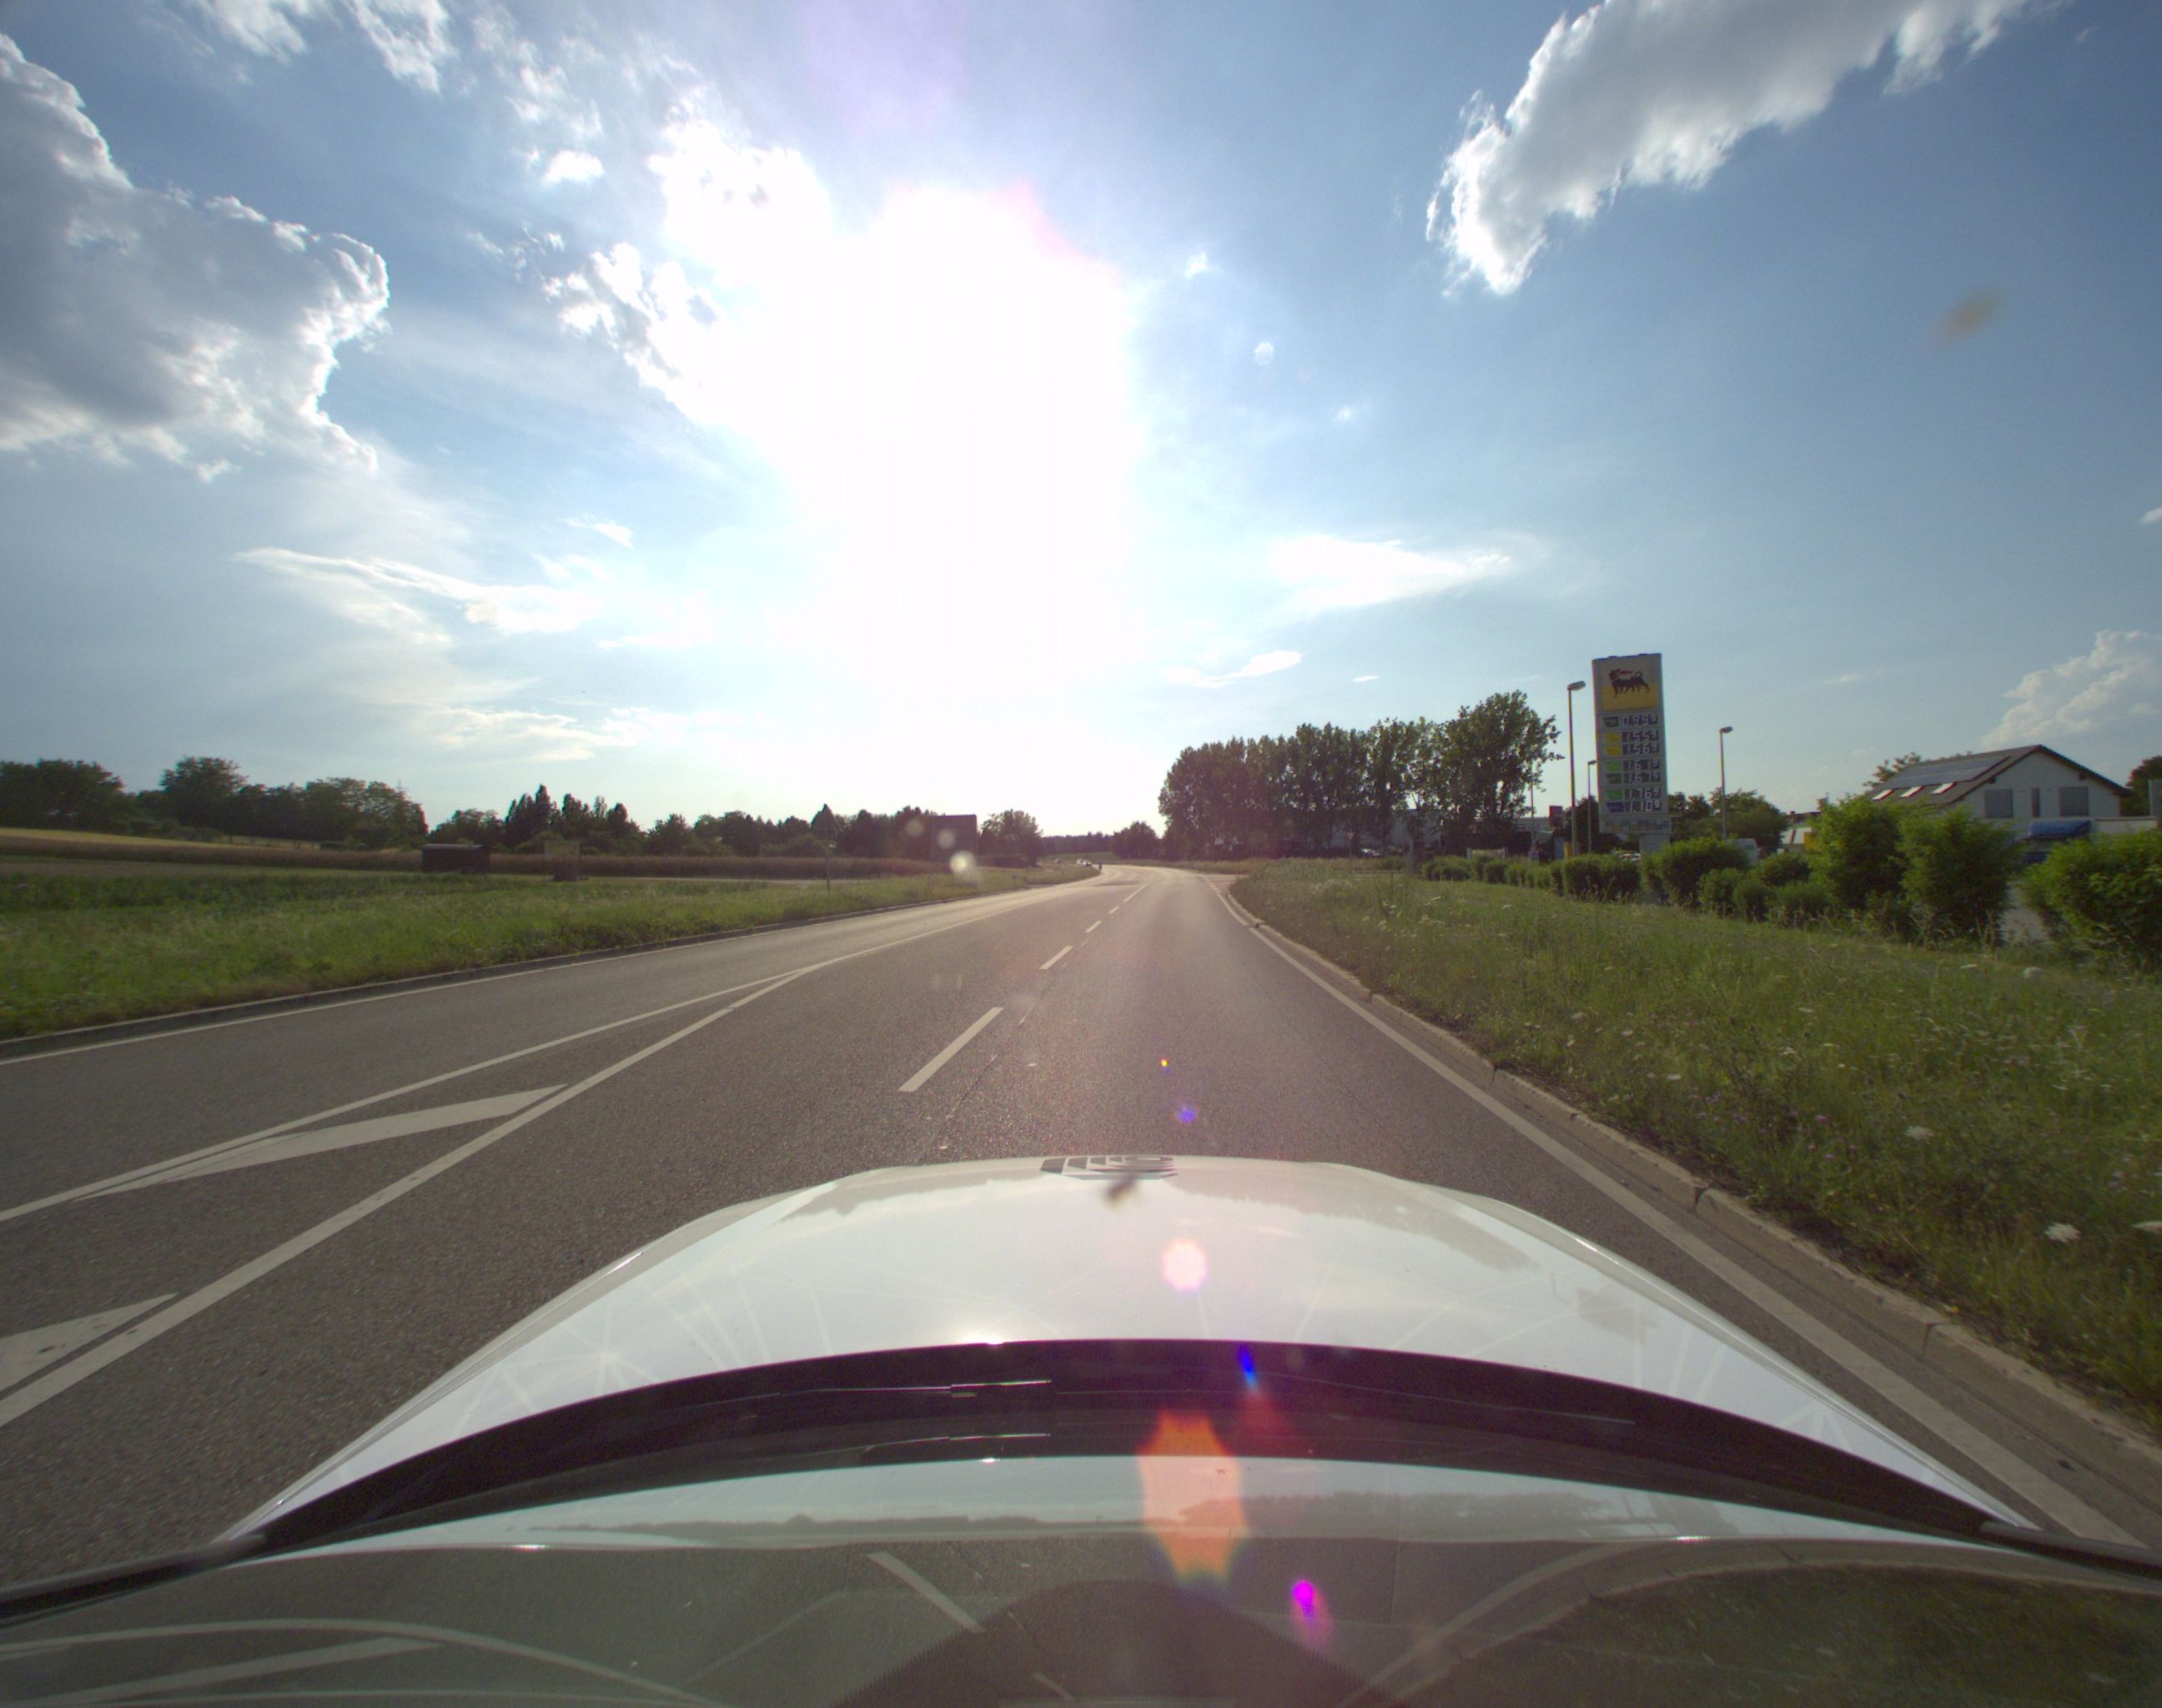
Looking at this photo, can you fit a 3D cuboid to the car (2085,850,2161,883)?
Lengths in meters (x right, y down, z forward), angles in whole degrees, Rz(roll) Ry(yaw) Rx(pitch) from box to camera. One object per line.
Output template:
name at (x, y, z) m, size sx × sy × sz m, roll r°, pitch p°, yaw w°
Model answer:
car at (54.440, 0.628, 41.127) m, size 1.853 × 1.635 × 4.386 m, roll 2°, pitch -1°, yaw -25°

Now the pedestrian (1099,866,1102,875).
pedestrian at (3.432, 2.886, 143.563) m, size 0.563 × 1.505 × 0.865 m, roll 1°, pitch -1°, yaw 3°

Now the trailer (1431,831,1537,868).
trailer at (45.836, -0.400, 93.437) m, size 2.248 × 3.916 × 13.642 m, roll 1°, pitch -1°, yaw -17°

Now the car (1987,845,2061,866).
car at (67.741, 0.104, 58.543) m, size 3.583 × 1.394 × 1.845 m, roll 1°, pitch -1°, yaw -9°

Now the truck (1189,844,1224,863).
truck at (23.711, -0.108, 154.321) m, size 2.518 × 3.377 × 9.627 m, roll 1°, pitch -1°, yaw -17°

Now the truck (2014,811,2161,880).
truck at (58.360, -0.408, 47.126) m, size 8.002 × 3.689 × 2.751 m, roll 2°, pitch -1°, yaw -17°

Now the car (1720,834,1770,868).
car at (52.855, -0.167, 64.978) m, size 2.208 × 2.519 × 6.860 m, roll 0°, pitch -2°, yaw 32°

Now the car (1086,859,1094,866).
car at (1.976, 1.906, 177.174) m, size 1.678 × 1.349 × 4.001 m, roll -2°, pitch -1°, yaw 1°

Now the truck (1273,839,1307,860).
truck at (33.761, -0.636, 131.905) m, size 2.629 × 3.162 × 5.670 m, roll 1°, pitch -3°, yaw -20°

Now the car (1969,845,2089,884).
car at (53.060, 0.567, 45.665) m, size 1.770 × 2.014 × 4.059 m, roll 3°, pitch -1°, yaw -21°

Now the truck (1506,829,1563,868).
truck at (48.099, -0.510, 86.513) m, size 2.252 × 3.916 × 5.080 m, roll 2°, pitch -1°, yaw -22°

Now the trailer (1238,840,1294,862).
trailer at (31.328, -0.363, 138.911) m, size 2.692 × 3.142 × 13.180 m, roll 1°, pitch -3°, yaw -19°
